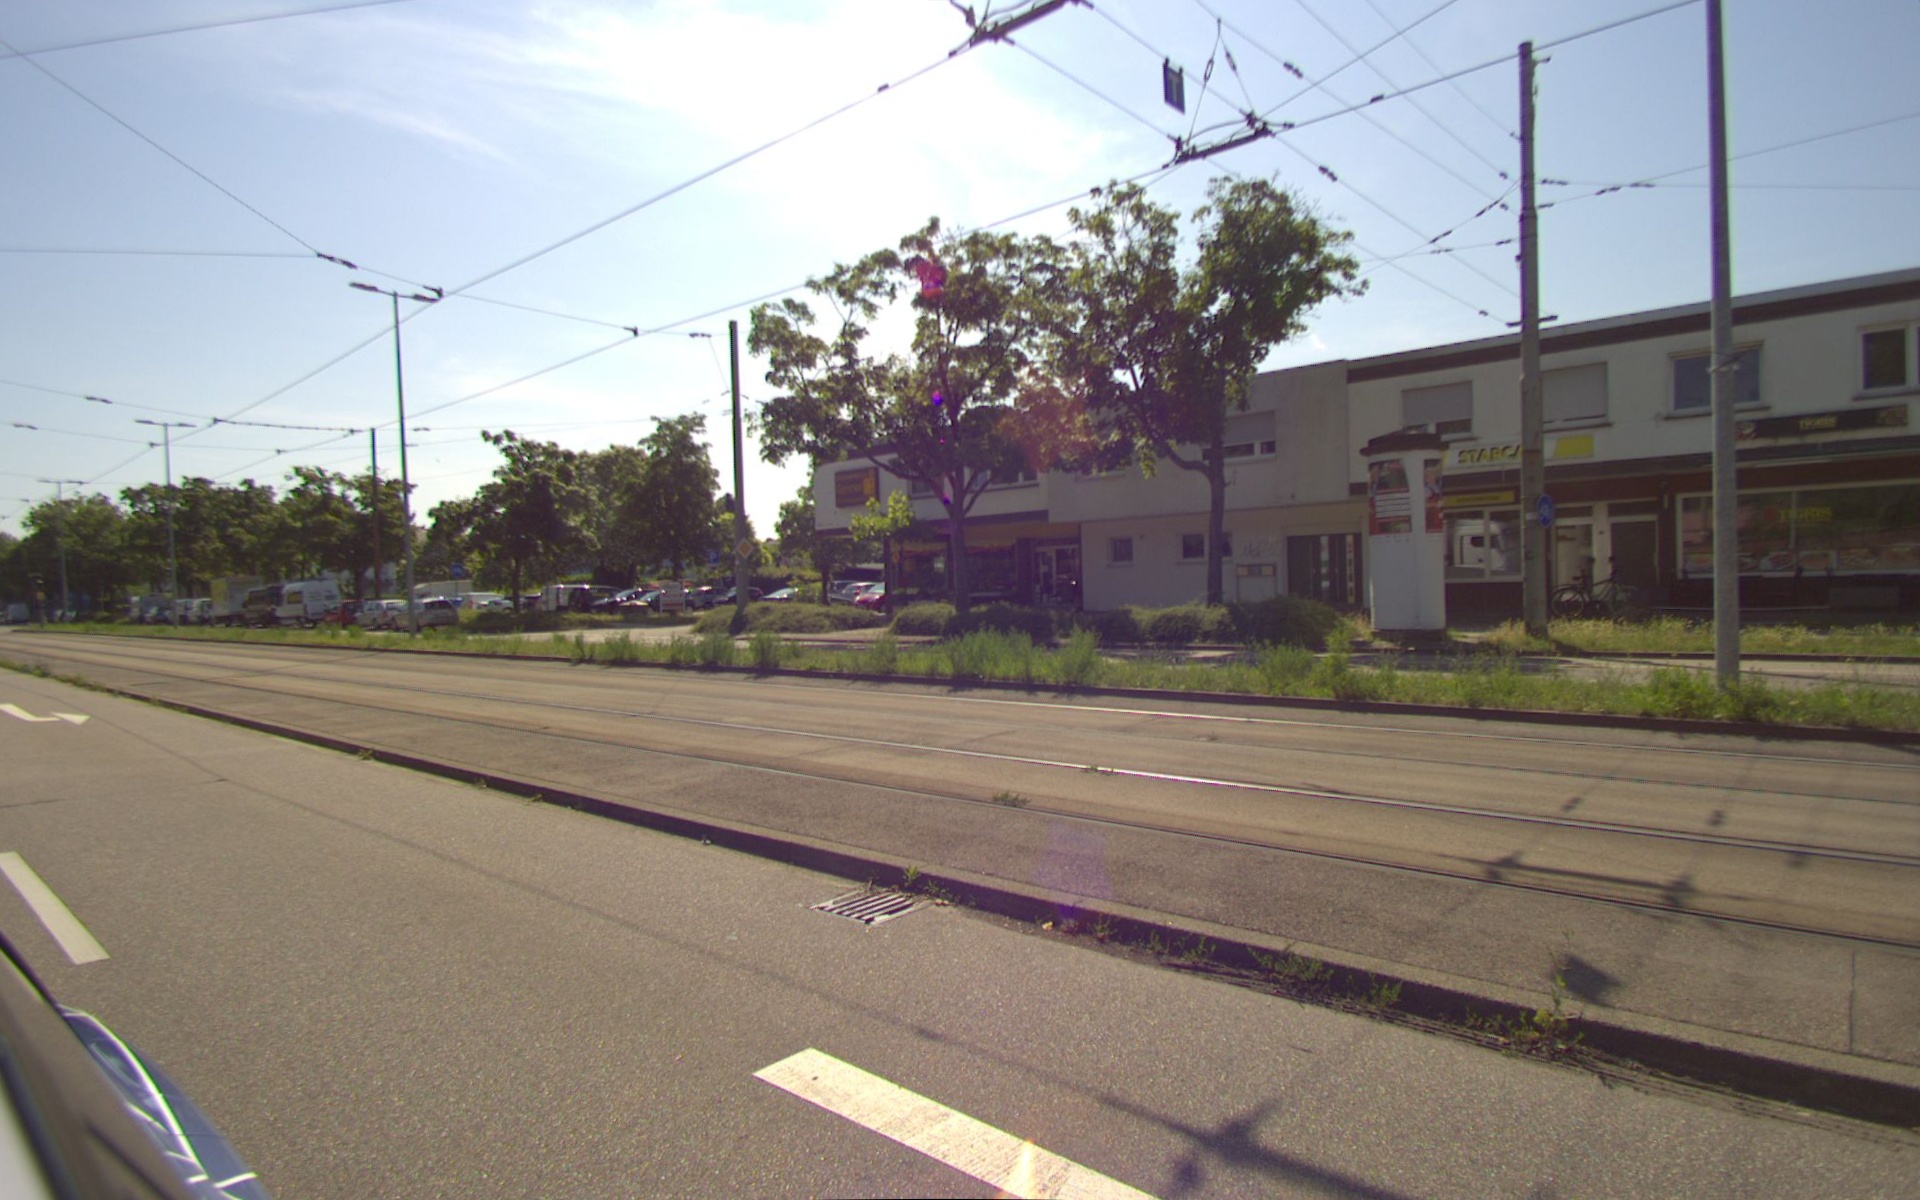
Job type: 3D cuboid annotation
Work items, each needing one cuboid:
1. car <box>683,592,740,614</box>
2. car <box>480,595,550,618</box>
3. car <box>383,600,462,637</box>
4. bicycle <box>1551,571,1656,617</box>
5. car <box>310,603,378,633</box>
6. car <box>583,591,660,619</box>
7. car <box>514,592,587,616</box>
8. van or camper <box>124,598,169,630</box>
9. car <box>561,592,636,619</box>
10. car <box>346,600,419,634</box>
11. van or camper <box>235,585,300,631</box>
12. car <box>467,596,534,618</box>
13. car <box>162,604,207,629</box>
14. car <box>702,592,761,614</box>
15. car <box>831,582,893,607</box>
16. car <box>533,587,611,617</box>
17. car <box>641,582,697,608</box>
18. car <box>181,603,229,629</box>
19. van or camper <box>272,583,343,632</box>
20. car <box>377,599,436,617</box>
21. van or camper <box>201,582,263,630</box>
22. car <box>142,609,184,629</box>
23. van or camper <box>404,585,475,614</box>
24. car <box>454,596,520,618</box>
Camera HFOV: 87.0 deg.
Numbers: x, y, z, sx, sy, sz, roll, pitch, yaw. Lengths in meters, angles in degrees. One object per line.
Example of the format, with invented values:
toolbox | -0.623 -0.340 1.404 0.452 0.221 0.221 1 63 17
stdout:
car | -17.480 0.212 71.224 1.710 1.372 3.580 -1 1 39
car | -28.035 0.417 63.774 1.811 1.291 3.580 -1 1 39
car | -25.191 0.844 47.387 4.285 1.506 1.868 -1 4 43
bicycle | 14.639 -0.131 23.045 1.910 0.990 0.750 -1 1 41
car | -33.192 0.980 54.481 4.229 1.506 1.869 -1 1 41
car | -18.231 0.253 54.632 1.710 1.372 3.580 -1 1 39
car | -24.024 0.231 59.450 1.710 1.294 3.580 -1 1 39
van or camper | -69.504 1.167 86.438 5.450 2.639 2.087 -1 0 41
car | -20.183 0.278 56.571 1.710 1.372 3.580 -1 1 39
car | -29.127 0.860 50.991 4.282 1.572 1.869 -1 1 41
van or camper | -42.499 0.498 62.072 4.836 2.652 2.014 -1 1 41
car | -29.916 0.443 66.002 1.710 1.291 3.580 -1 1 39
car | -59.748 1.278 77.935 4.229 1.781 1.869 -1 1 41
car | -15.642 0.168 69.385 1.710 1.372 3.580 -1 1 39
car | -5.887 -0.356 61.361 1.710 1.372 3.580 -1 1 39
car | -22.214 0.122 57.994 1.949 1.581 3.703 -1 1 39
car | -21.395 -0.364 74.436 1.710 1.791 3.580 -1 1 39
car | -54.660 1.183 73.215 4.229 1.747 1.869 -1 1 41
van or camper | -37.113 0.429 57.521 4.836 2.652 2.014 -1 1 41
car | -42.165 0.598 77.126 1.710 1.291 3.580 -1 1 39
van or camper | -48.438 0.397 67.271 5.278 3.007 2.101 -1 1 41
car | -64.323 1.528 81.669 4.229 1.572 1.869 -1 1 41
van or camper | -53.079 -0.088 103.260 2.299 2.751 6.002 -1 1 43
car | -31.560 0.463 67.620 1.710 1.291 3.580 -1 1 39
